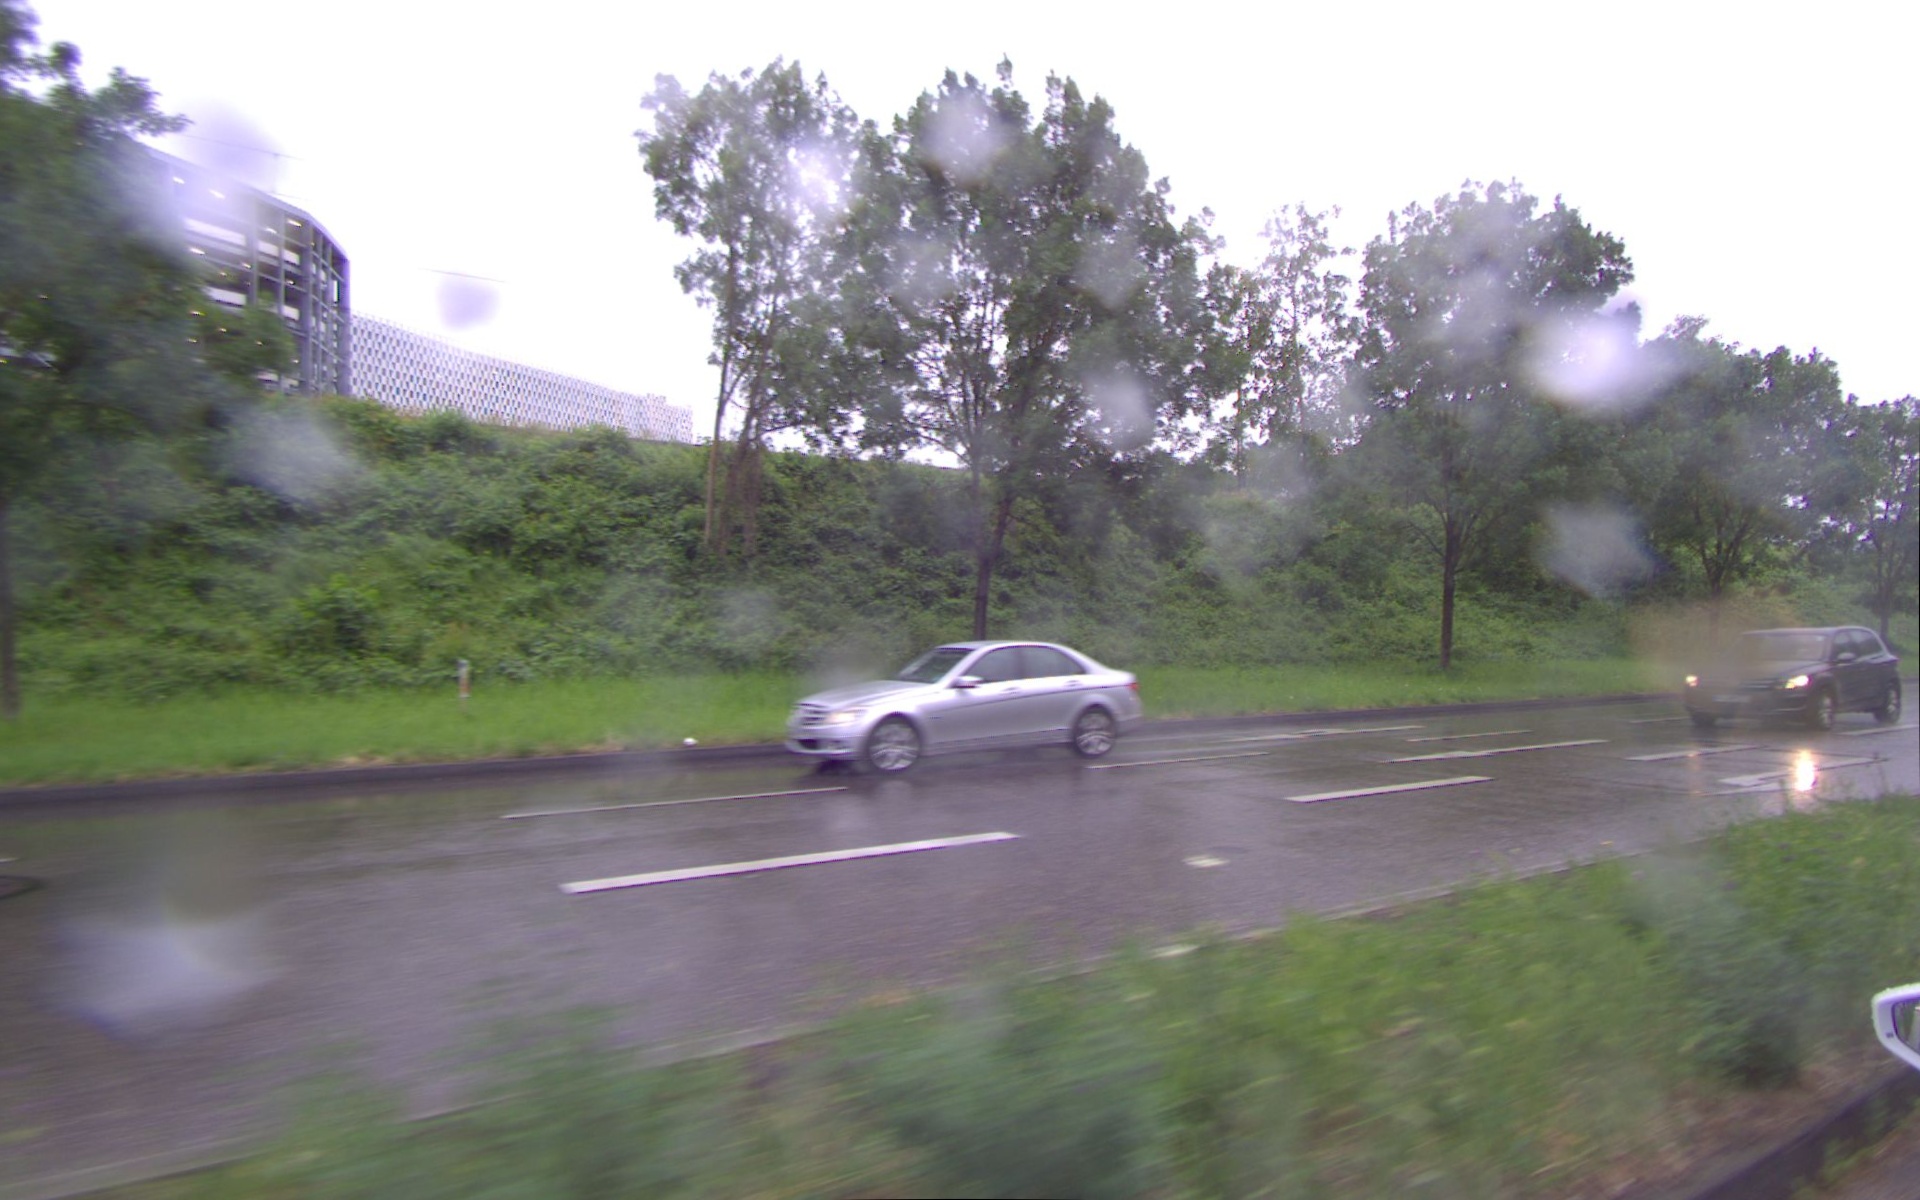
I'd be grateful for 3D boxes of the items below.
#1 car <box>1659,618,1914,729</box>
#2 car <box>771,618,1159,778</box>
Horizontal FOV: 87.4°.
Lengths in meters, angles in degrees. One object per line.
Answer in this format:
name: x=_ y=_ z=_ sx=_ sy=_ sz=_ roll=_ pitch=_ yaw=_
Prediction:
car: x=13.697 y=1.175 z=16.628 sx=4.062 sy=1.634 sz=1.890 roll=1 pitch=-3 yaw=-29
car: x=0.132 y=1.070 z=12.240 sx=4.427 sy=1.634 sz=1.888 roll=1 pitch=-2 yaw=-32
